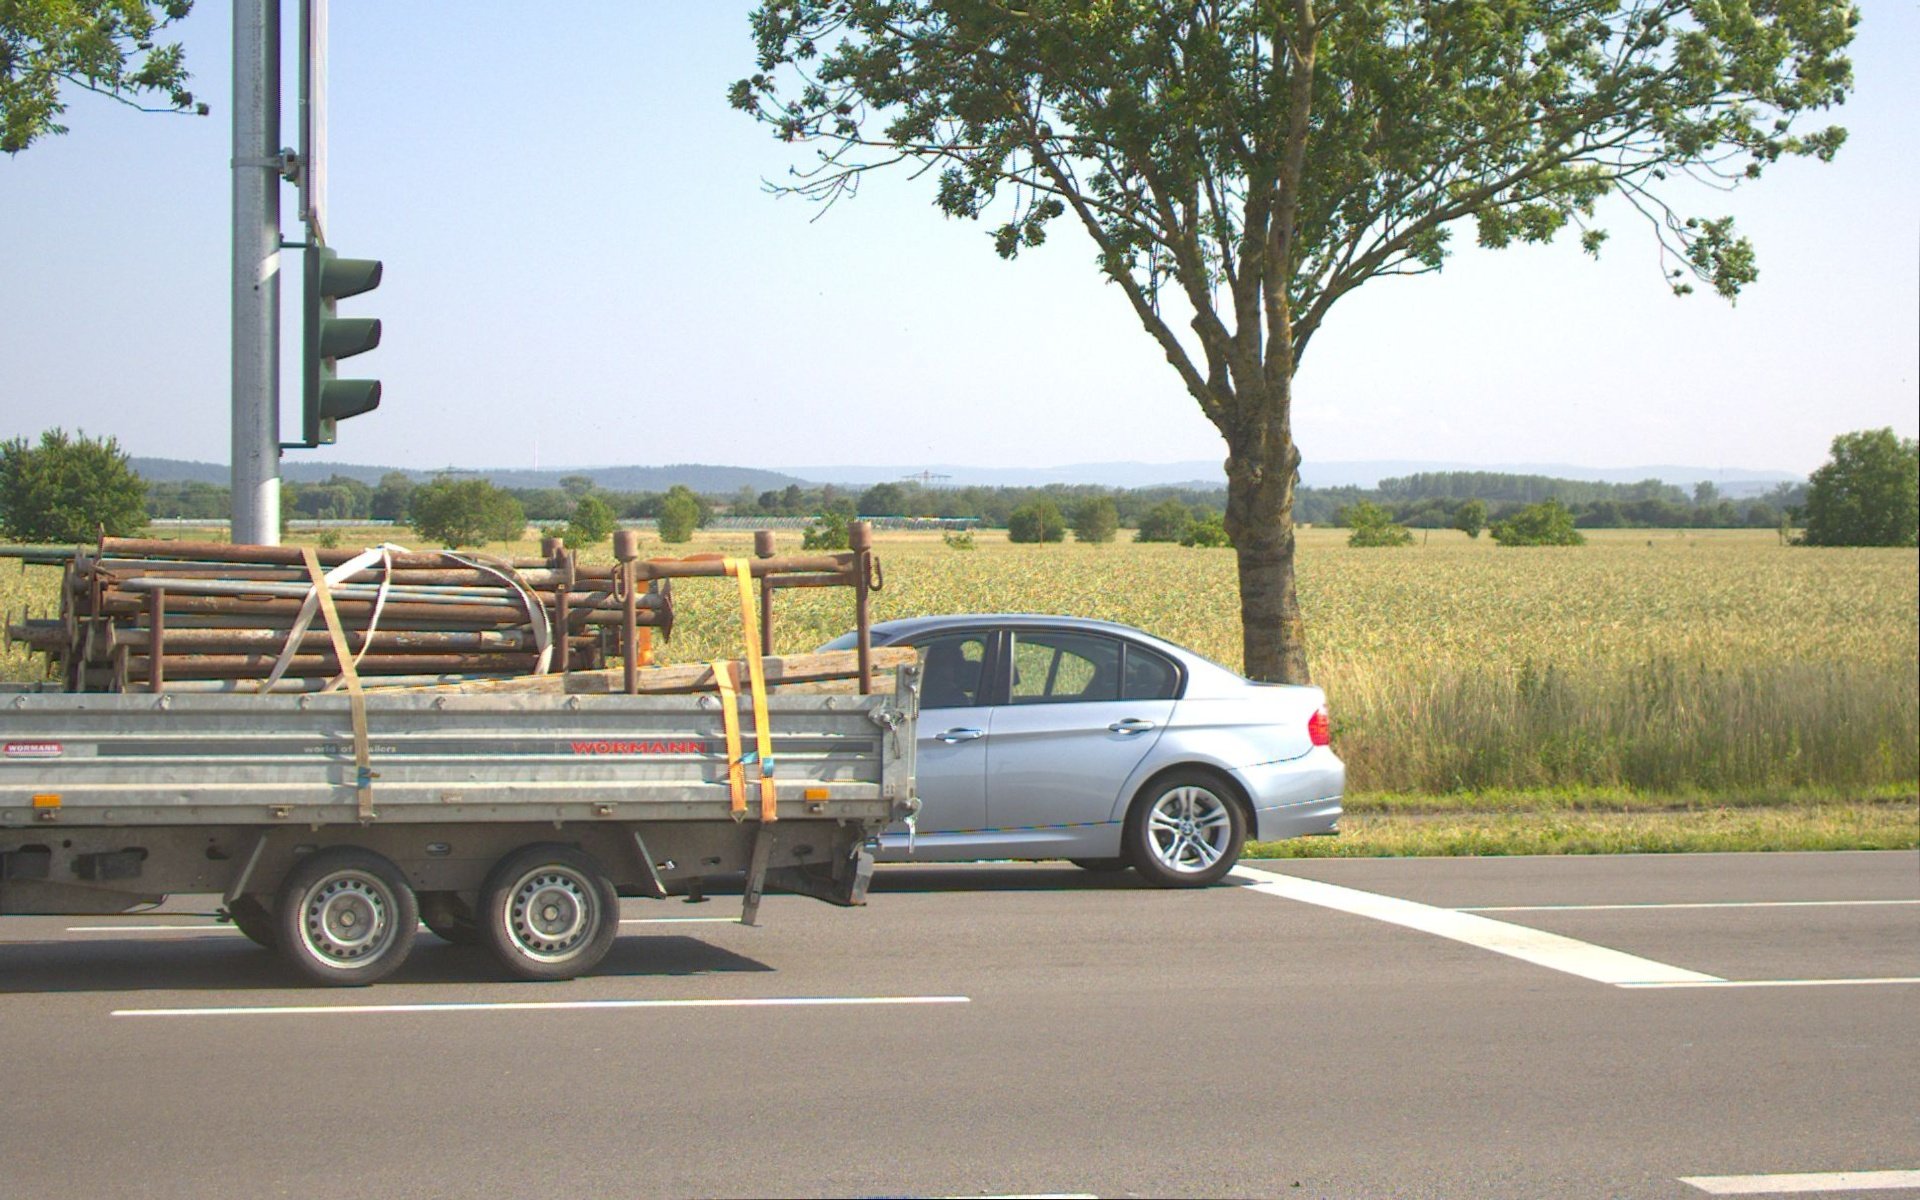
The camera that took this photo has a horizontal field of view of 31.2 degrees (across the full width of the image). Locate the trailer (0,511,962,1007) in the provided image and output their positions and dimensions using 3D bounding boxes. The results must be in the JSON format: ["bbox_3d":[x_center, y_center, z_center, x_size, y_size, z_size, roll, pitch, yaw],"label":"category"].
[{"bbox_3d":[-2.680,0.558,13.299,4.994,1.732,1.981,0,0,-19],"label":"trailer"}]

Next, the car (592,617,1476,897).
[{"bbox_3d":[0.352,0.794,18.186,4.406,1.372,1.635,0,-1,-13],"label":"car"}]
